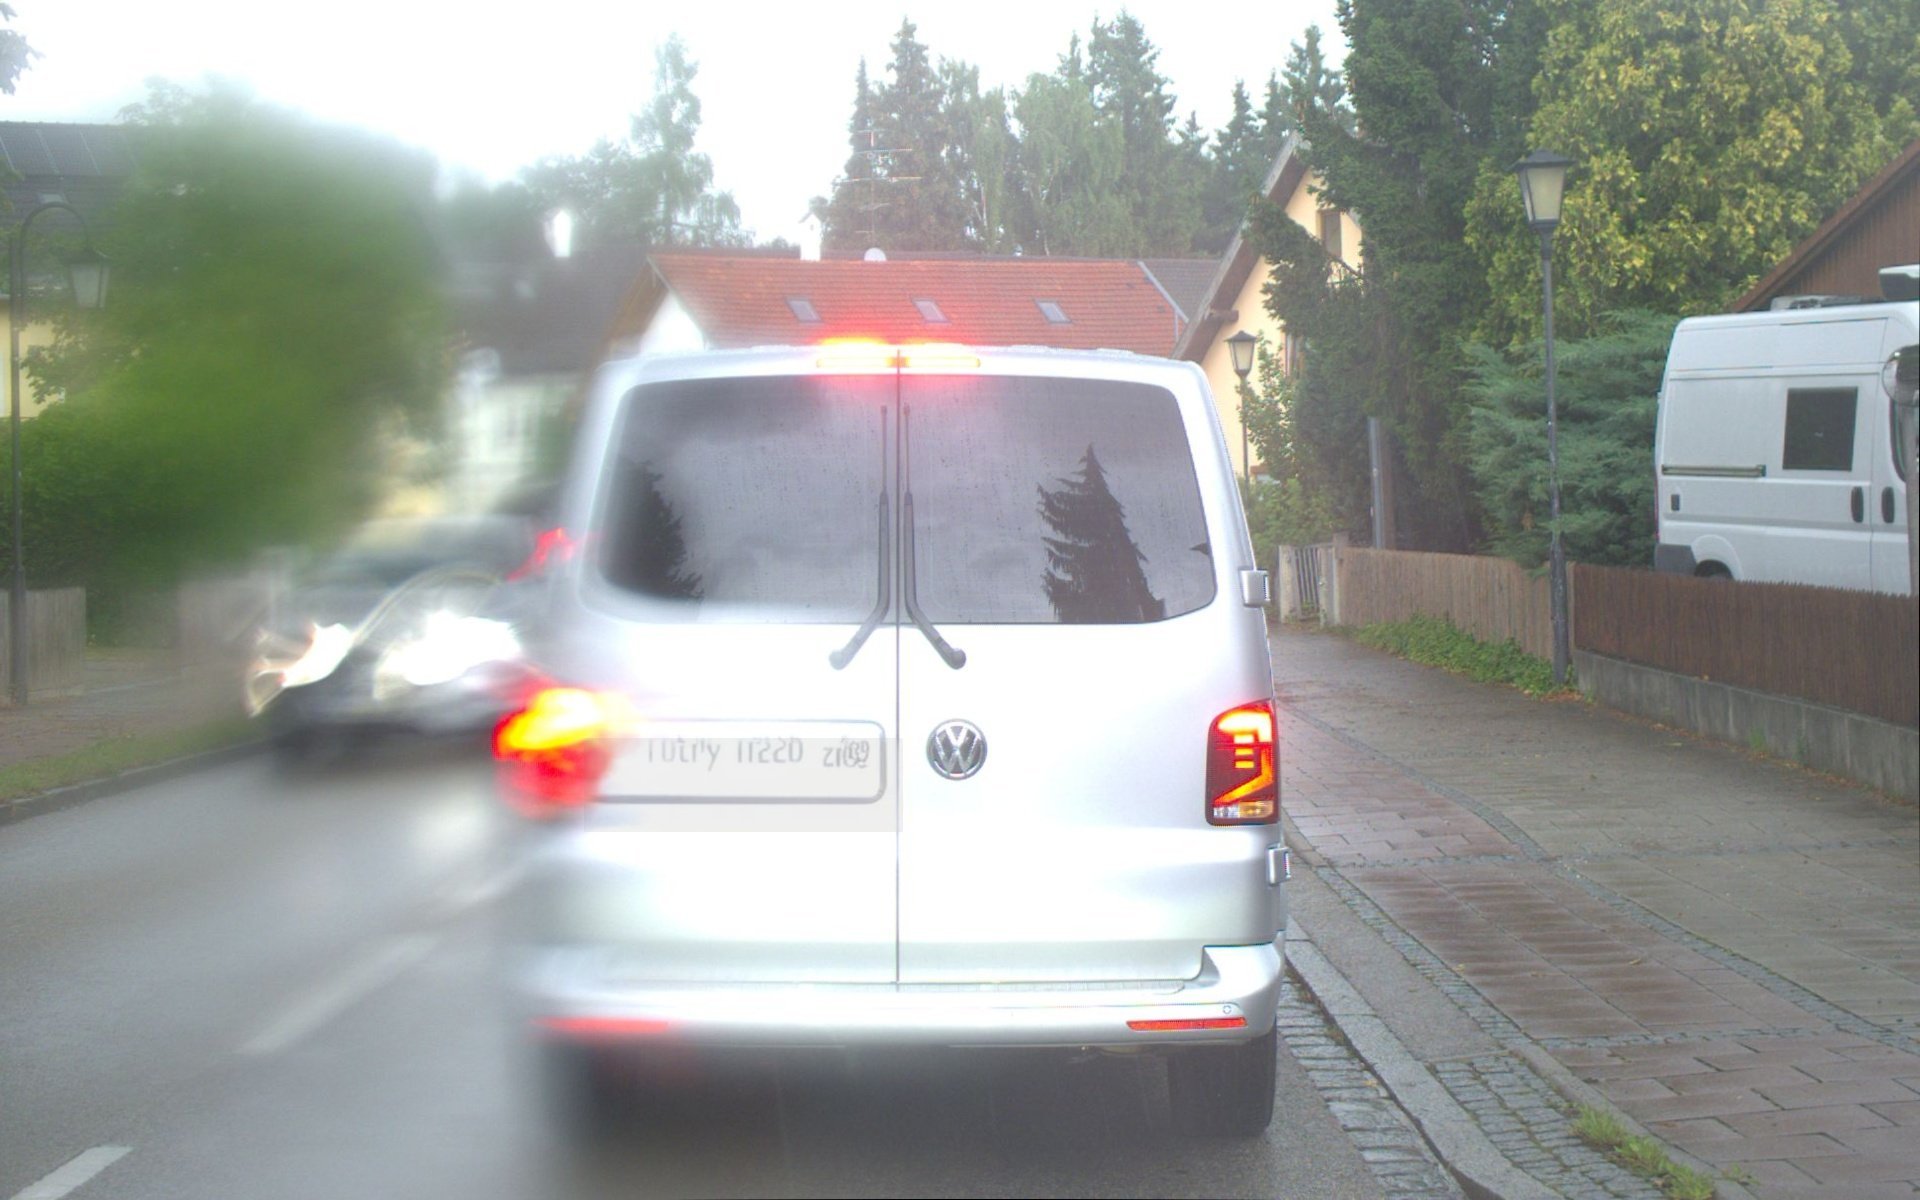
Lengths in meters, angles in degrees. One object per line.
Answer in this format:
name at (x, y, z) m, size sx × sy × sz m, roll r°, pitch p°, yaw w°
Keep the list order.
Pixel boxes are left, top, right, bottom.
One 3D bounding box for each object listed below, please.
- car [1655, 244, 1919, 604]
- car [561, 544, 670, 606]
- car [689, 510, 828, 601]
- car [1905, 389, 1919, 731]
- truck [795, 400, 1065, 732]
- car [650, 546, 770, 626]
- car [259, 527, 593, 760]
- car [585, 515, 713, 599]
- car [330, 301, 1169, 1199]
car at (6.464, -1.051, 22.044) m, size 1.993 × 2.166 × 4.954 m, roll 1°, pitch 0°, yaw -14°
car at (-7.637, -0.559, 75.934) m, size 1.779 × 1.306 × 3.777 m, roll 1°, pitch 0°, yaw -15°
car at (-4.651, -1.012, 78.835) m, size 1.993 × 2.007 × 4.001 m, roll 1°, pitch 0°, yaw -21°
car at (6.970, -0.205, 17.010) m, size 4.093 × 1.745 × 1.695 m, roll -1°, pitch 3°, yaw -3°
truck at (-0.320, -0.331, 35.391) m, size 2.475 × 3.063 × 6.296 m, roll 1°, pitch 0°, yaw -1°
car at (-4.294, -0.248, 59.493) m, size 1.780 × 1.306 × 3.776 m, roll 1°, pitch 0°, yaw 0°
car at (-3.854, 0.289, 25.464) m, size 1.827 × 1.553 × 4.177 m, roll -1°, pitch 0°, yaw 0°
car at (-7.771, -1.067, 85.521) m, size 1.993 × 2.007 × 4.001 m, roll 1°, pitch 0°, yaw -23°
car at (-0.389, 0.359, 9.511) m, size 1.801 × 2.007 × 4.000 m, roll 1°, pitch 0°, yaw 2°
